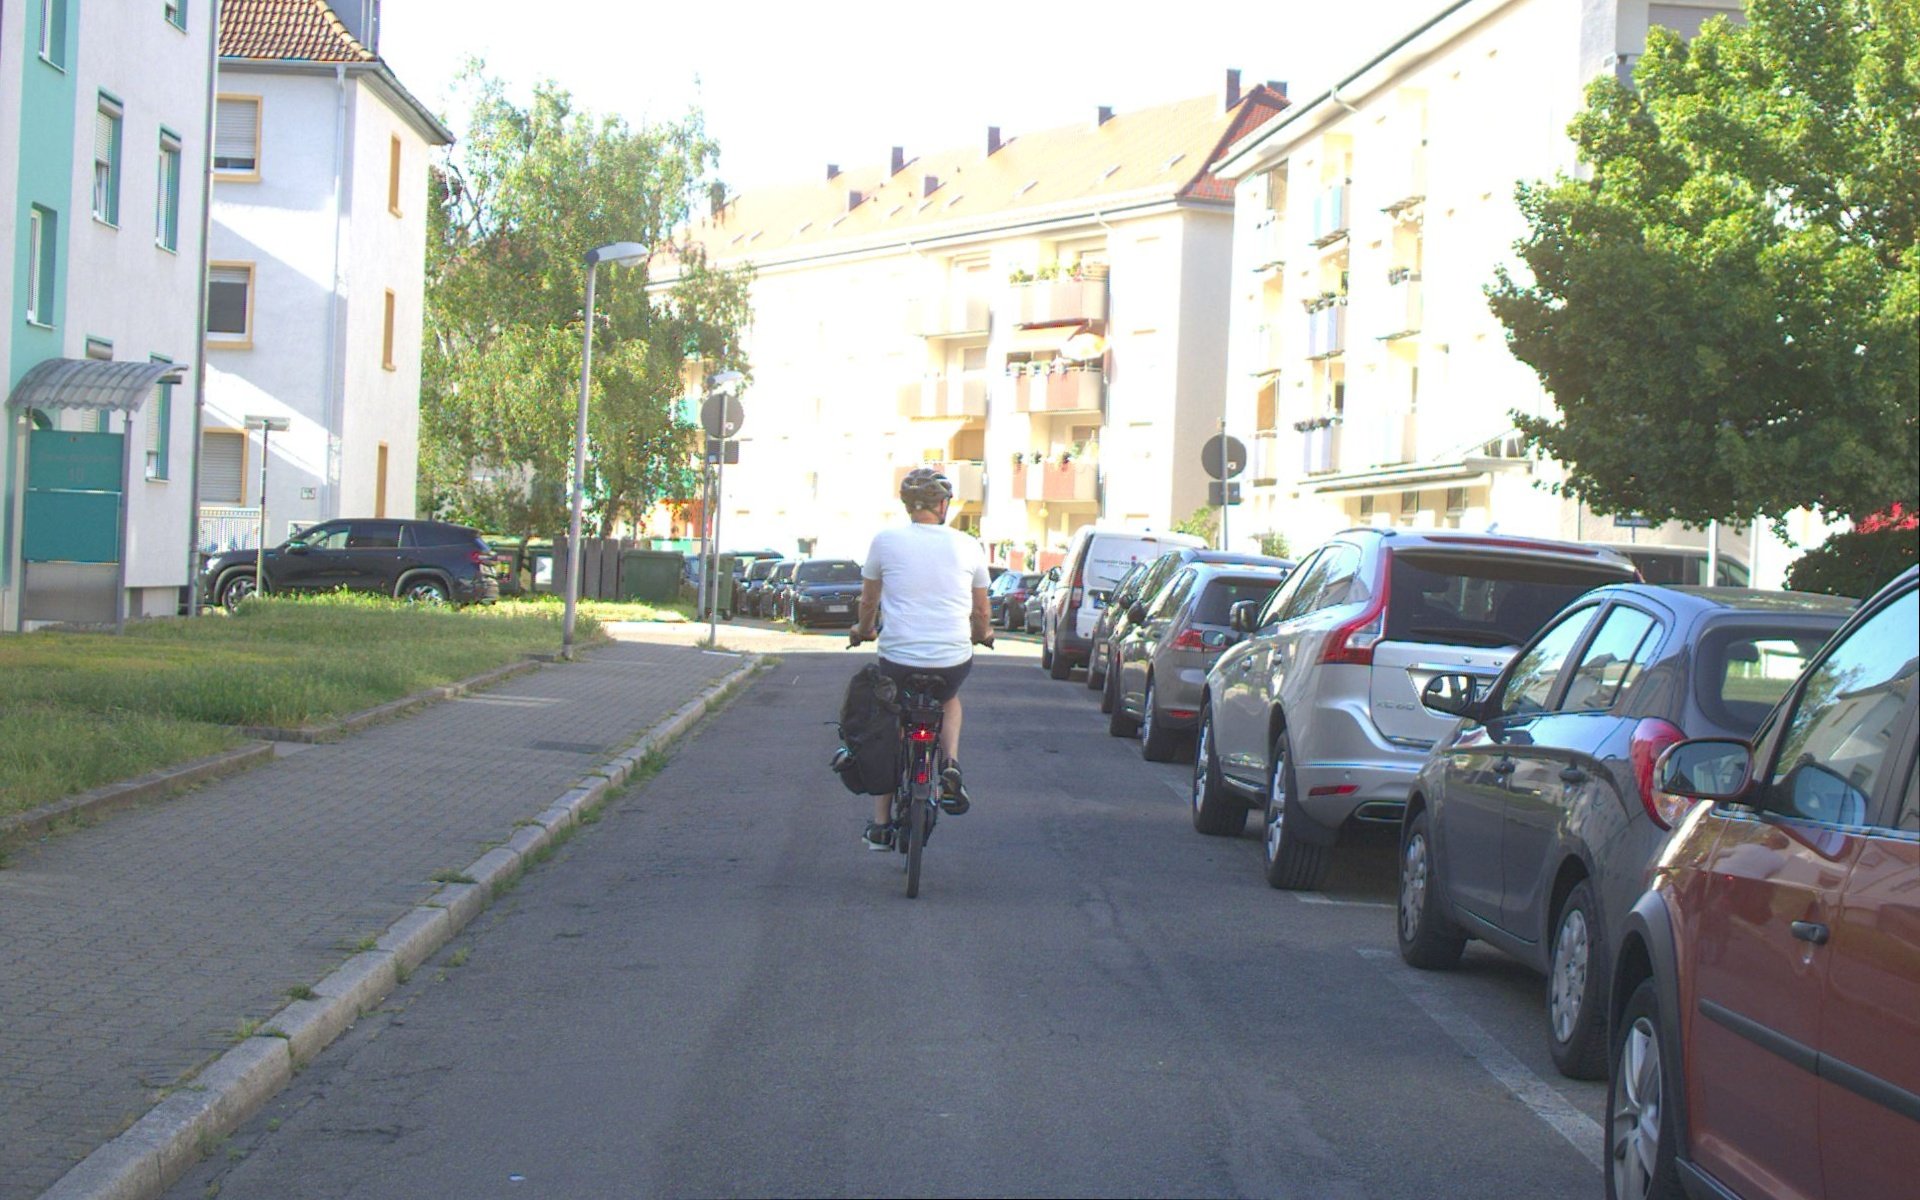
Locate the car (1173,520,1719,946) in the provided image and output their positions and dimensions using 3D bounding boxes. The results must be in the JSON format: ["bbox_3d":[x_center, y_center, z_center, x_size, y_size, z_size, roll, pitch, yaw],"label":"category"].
[{"bbox_3d":[2.162,0.510,16.504,1.700,1.665,4.380,4,1,-3],"label":"car"}]

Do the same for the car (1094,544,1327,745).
[{"bbox_3d":[2.160,0.346,30.389,1.558,1.571,3.367,3,1,-3],"label":"car"}]

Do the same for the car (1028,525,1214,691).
[{"bbox_3d":[1.817,0.046,39.893,1.674,1.733,3.943,3,1,-3],"label":"car"}]

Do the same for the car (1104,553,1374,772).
[{"bbox_3d":[2.014,0.405,25.758,1.559,1.406,3.934,3,1,-1],"label":"car"}]

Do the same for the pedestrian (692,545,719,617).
[{"bbox_3d":[-5.101,-0.377,69.037,0.434,1.422,0.543,3,1,-1],"label":"pedestrian"}]

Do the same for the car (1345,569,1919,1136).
[{"bbox_3d":[2.478,0.717,11.510,1.617,1.455,3.842,5,1,-3],"label":"car"}]

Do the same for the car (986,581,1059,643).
[{"bbox_3d":[1.486,0.278,82.478,1.469,1.331,3.141,3,1,-3],"label":"car"}]

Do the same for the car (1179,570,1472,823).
[{"bbox_3d":[2.261,0.554,21.906,1.391,1.398,3.244,3,1,-1],"label":"car"}]

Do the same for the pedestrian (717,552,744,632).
[{"bbox_3d":[-4.612,-0.160,69.139,0.434,1.569,0.543,3,1,-1],"label":"pedestrian"}]

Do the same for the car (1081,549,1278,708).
[{"bbox_3d":[2.207,0.257,35.302,1.558,1.448,3.367,3,1,-3],"label":"car"}]

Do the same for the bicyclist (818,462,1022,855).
[{"bbox_3d":[-0.187,0.241,14.947,0.808,1.638,0.899,2,1,-3],"label":"bicyclist"}]

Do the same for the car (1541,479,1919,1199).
[{"bbox_3d":[2.386,0.715,5.920,1.862,1.662,4.127,5,1,-1],"label":"car"}]

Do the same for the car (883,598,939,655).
[{"bbox_3d":[-1.465,0.763,101.736,1.469,1.511,3.077,3,1,-3],"label":"car"}]

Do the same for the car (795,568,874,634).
[{"bbox_3d":[-2.686,0.014,73.025,1.469,1.331,3.141,-1,1,-5],"label":"car"}]

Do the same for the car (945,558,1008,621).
[{"bbox_3d":[0.418,-0.289,89.452,1.381,1.492,3.077,3,1,-3],"label":"car"}]

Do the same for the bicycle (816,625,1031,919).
[{"bbox_3d":[-0.191,0.706,15.005,0.808,1.124,2.102,2,1,-3],"label":"bicycle"}]

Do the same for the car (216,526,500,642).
[{"bbox_3d":[-9.457,-0.263,54.207,4.230,1.633,1.583,2,1,-5],"label":"car"}]

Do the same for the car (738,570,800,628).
[{"bbox_3d":[-4.677,-0.041,84.027,1.469,1.331,3.141,-1,1,-4],"label":"car"}]

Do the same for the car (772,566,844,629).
[{"bbox_3d":[-3.441,-0.082,77.390,1.469,1.331,3.141,-1,1,-5],"label":"car"}]
